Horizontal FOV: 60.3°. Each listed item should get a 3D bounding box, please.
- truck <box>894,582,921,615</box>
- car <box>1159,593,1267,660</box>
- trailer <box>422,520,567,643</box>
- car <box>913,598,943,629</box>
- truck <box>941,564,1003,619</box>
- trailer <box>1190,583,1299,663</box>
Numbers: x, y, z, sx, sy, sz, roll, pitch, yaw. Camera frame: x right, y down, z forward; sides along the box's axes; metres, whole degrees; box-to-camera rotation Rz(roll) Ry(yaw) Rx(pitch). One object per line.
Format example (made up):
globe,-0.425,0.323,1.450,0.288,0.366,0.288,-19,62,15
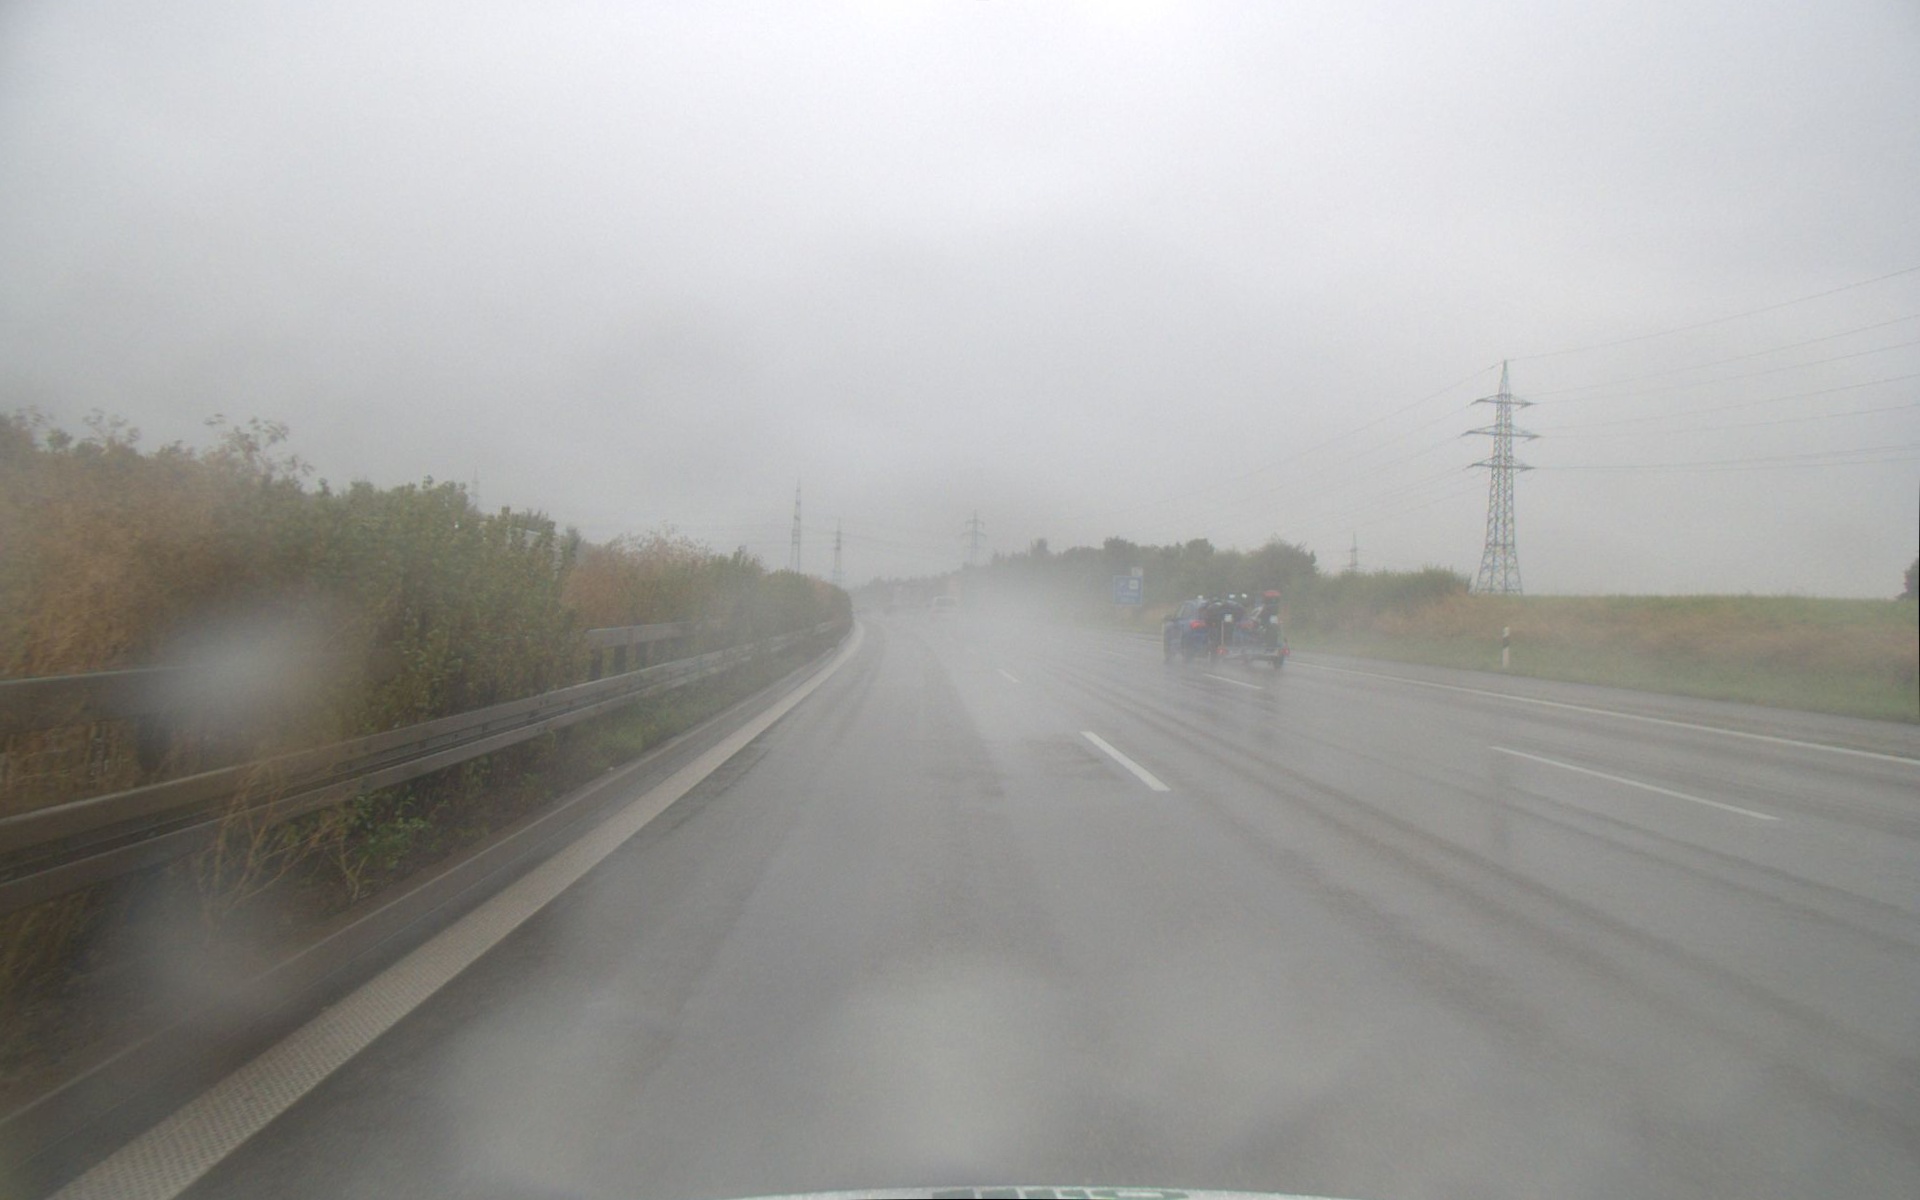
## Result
truck,-7.117,-0.149,223.572,3.169,4.387,8.828,1,0,-4
car,6.582,0.696,43.572,1.953,1.647,4.990,0,-1,-2
trailer,-17.929,-0.641,64.683,2.467,4.295,12.937,0,0,-2
car,-2.214,0.901,113.006,1.953,2.049,3.998,0,0,-2
truck,0.981,-0.668,152.893,4.108,4.711,16.085,1,-1,-5
trailer,6.754,0.549,39.501,1.939,1.816,3.187,0,-1,-3
